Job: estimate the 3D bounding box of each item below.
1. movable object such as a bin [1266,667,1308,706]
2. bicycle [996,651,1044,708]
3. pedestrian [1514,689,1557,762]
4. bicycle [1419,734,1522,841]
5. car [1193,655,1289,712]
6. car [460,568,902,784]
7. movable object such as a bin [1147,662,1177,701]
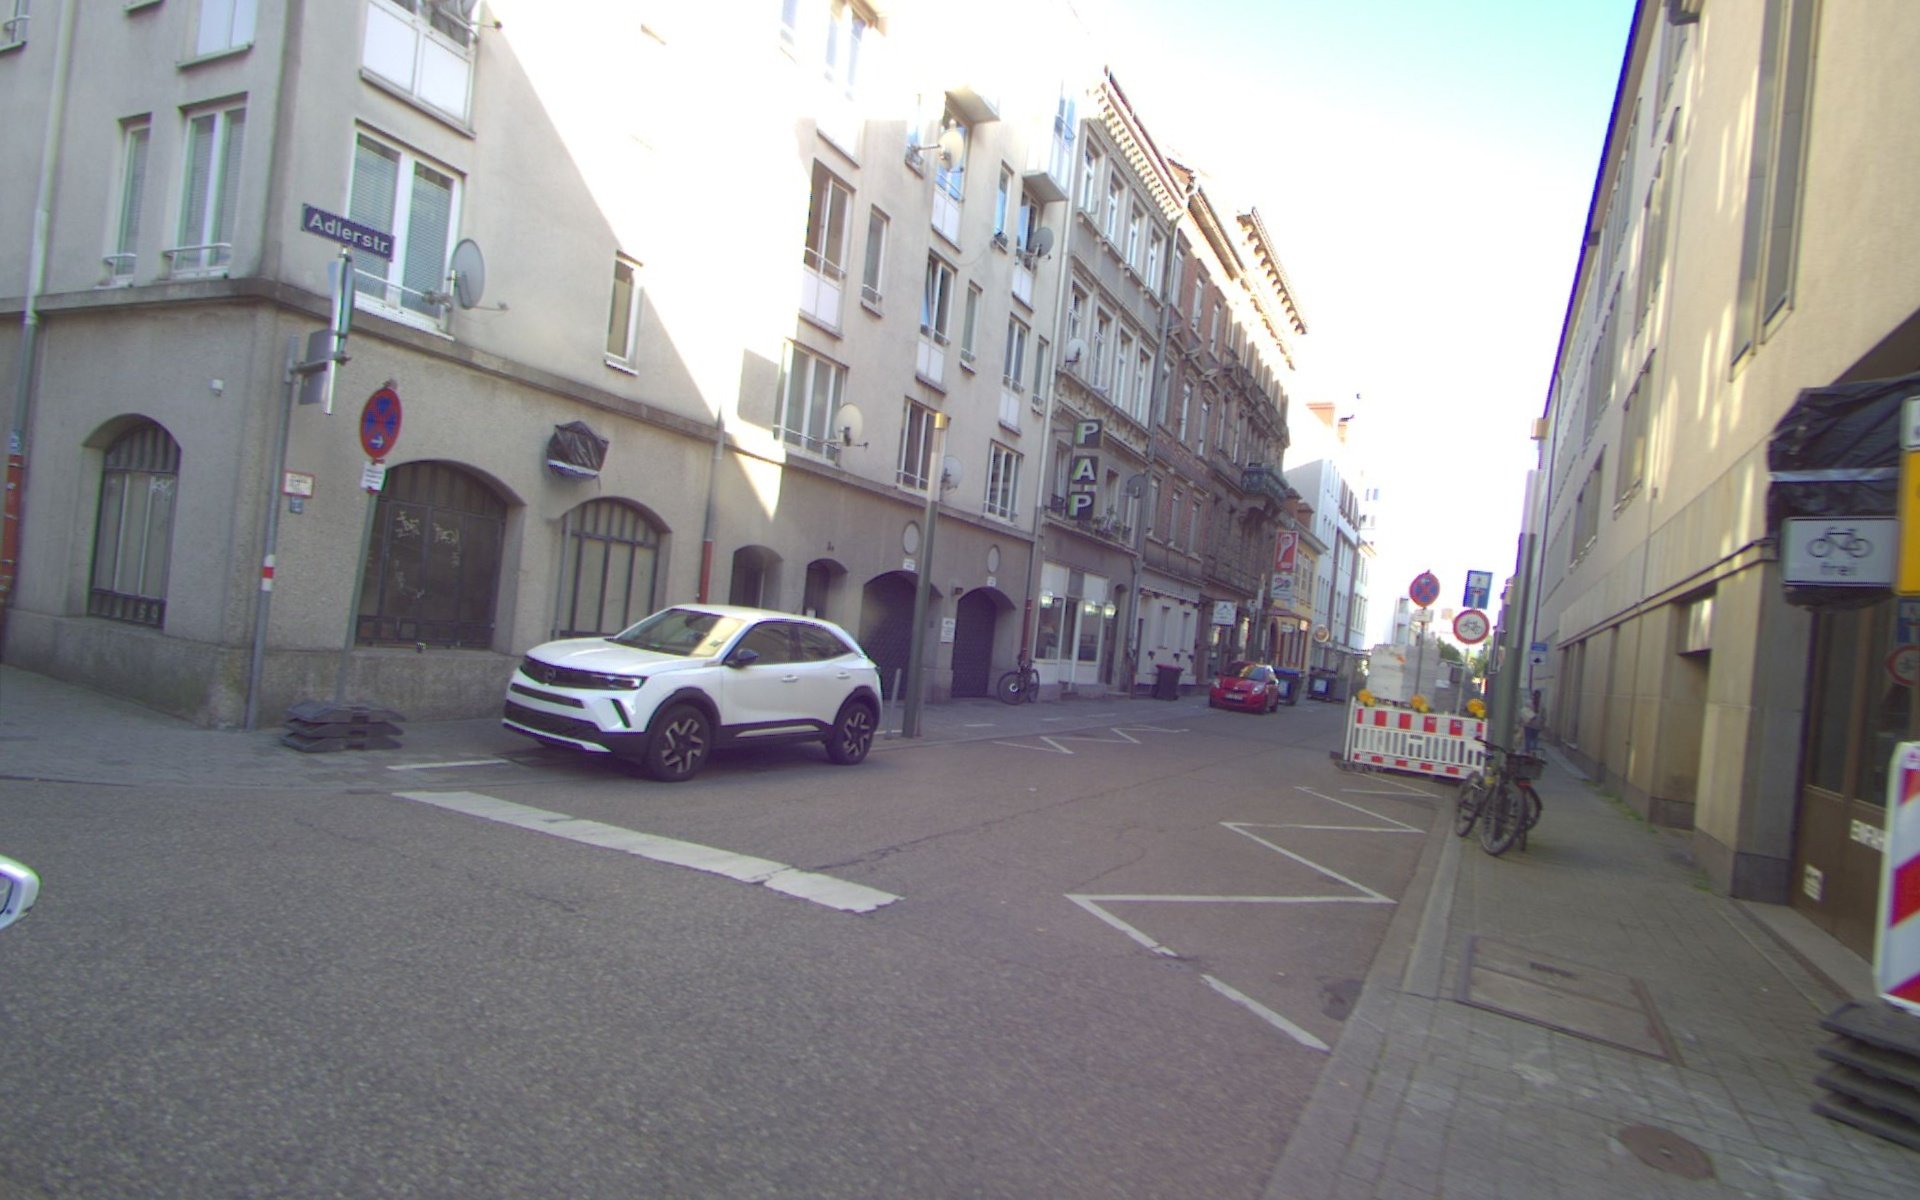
[{"bbox_3d":[12.959,3.425,39.821,1.035,1.407,1.997,6,-2,30],"label":"movable object such as a bin"},{"bbox_3d":[1.318,1.726,21.868,0.424,1.157,1.591,5,-2,23],"label":"bicycle"},{"bbox_3d":[13.419,2.912,23.463,0.710,1.605,0.637,5,-1,28],"label":"pedestrian"},{"bbox_3d":[5.520,2.000,10.848,1.413,1.019,0.465,8,-2,-43],"label":"bicycle"},{"bbox_3d":[8.855,2.634,31.526,1.885,1.496,3.798,5,-2,30],"label":"car"},{"bbox_3d":[-2.491,0.749,10.026,1.738,1.586,4.076,5,-2,30],"label":"car"},{"bbox_3d":[6.184,2.479,30.802,0.678,1.088,0.449,8,1,26],"label":"movable object such as a bin"}]
